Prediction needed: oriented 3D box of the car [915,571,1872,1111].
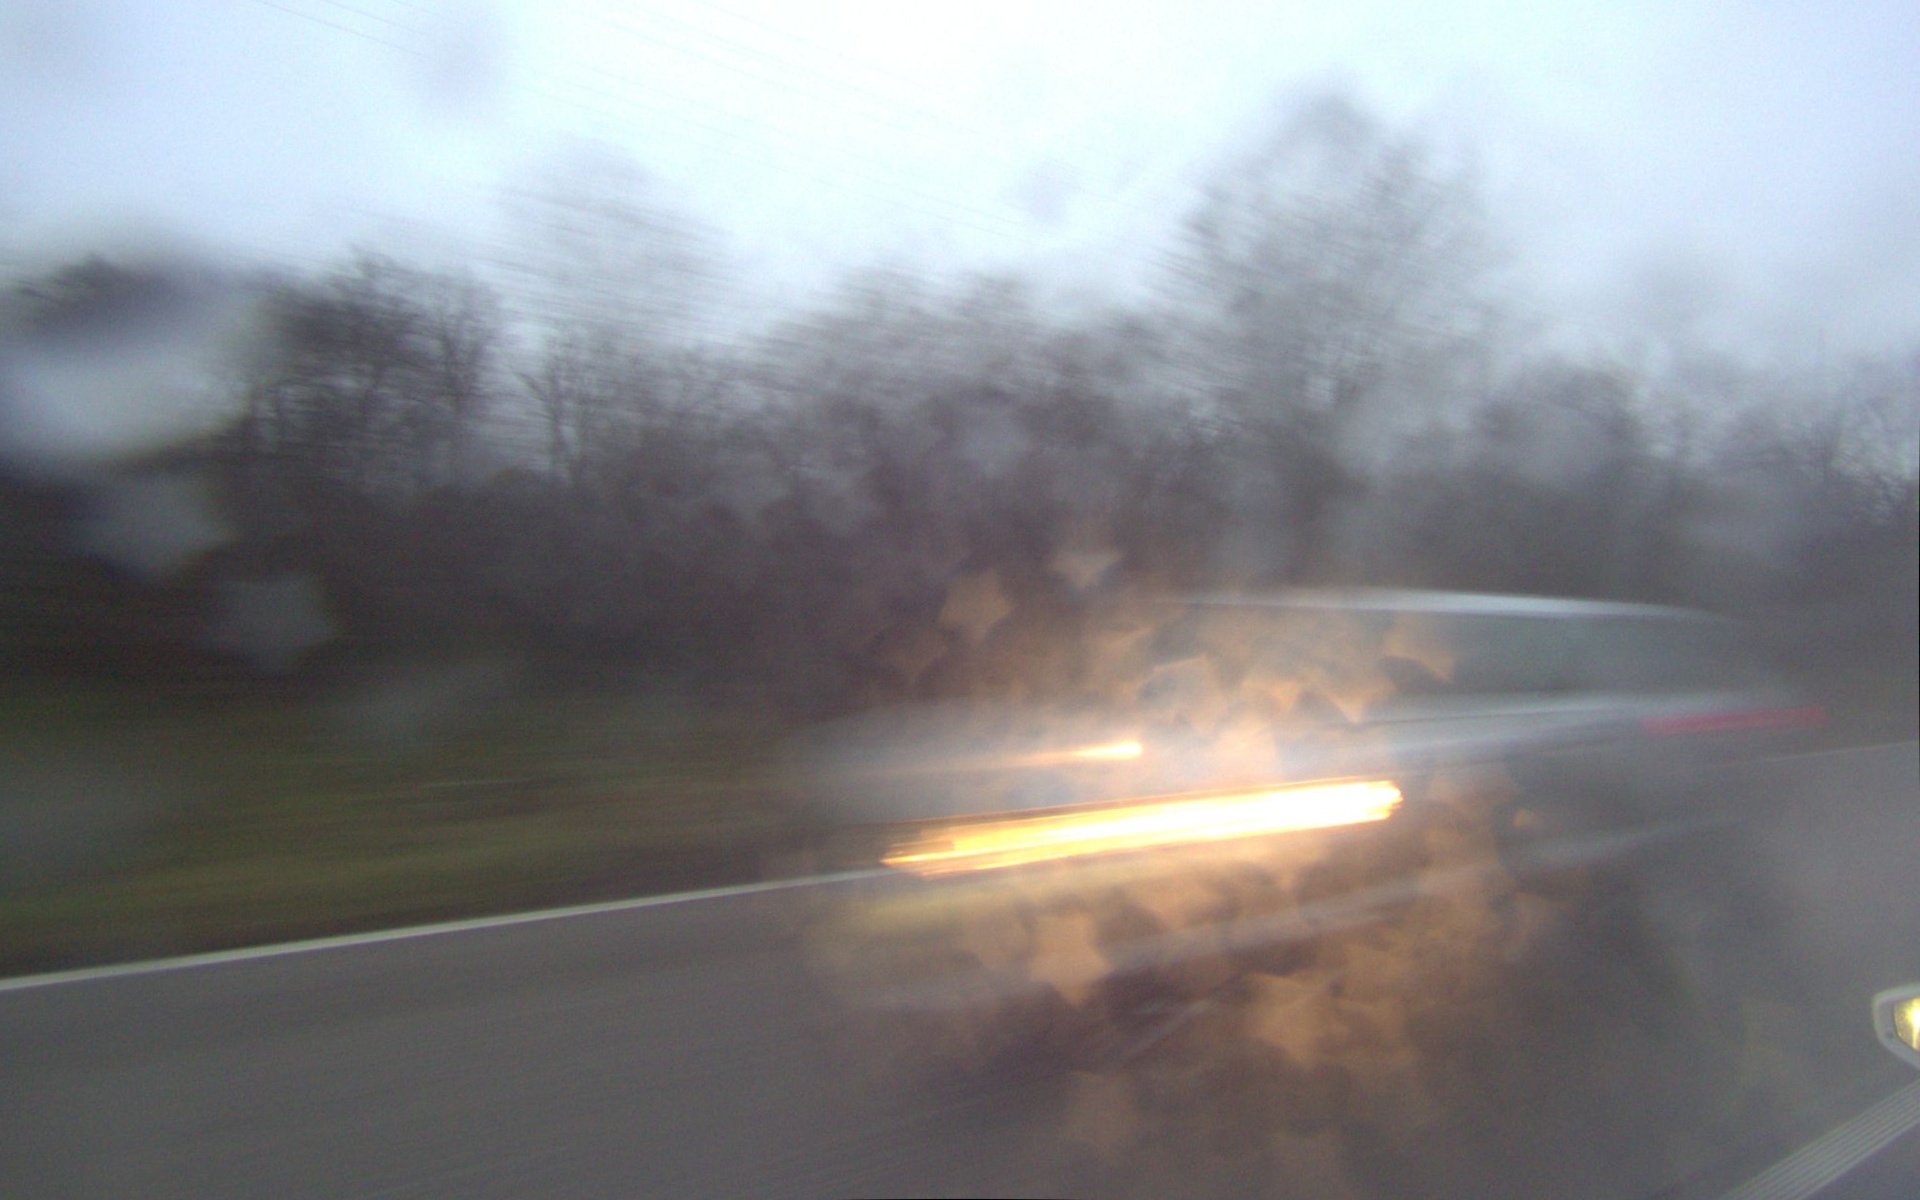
[{"bbox_3d":[2.349,0.731,4.890,4.902,1.554,1.725,1,0,-31],"label":"car"}]
